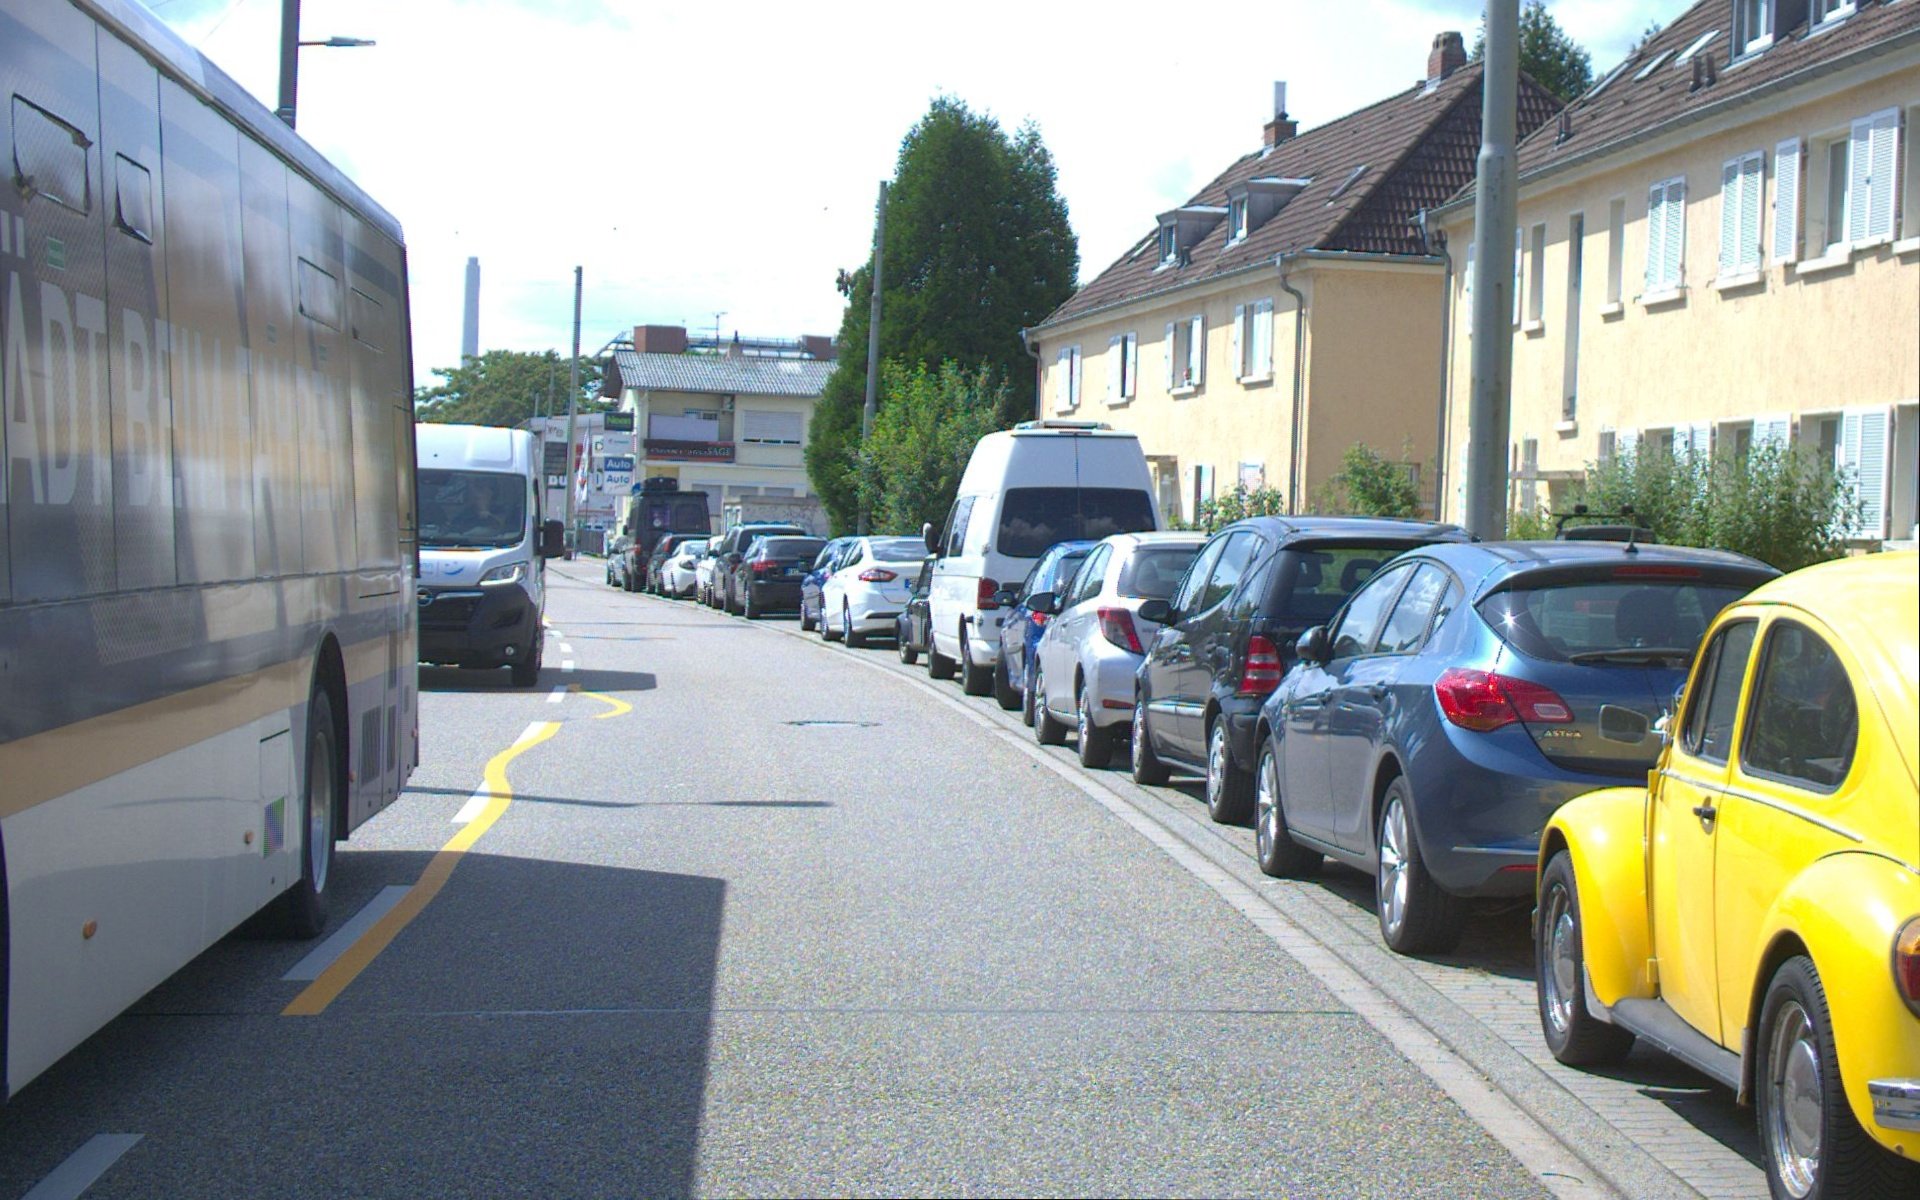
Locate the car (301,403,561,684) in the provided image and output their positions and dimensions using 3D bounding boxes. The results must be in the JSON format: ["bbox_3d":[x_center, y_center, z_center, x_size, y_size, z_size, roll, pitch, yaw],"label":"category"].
[{"bbox_3d":[-5.067,-0.564,33.644,2.102,2.435,5.572,2,1,-5],"label":"car"}]

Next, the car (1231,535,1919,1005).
[{"bbox_3d":[2.221,0.530,13.459,1.636,1.477,4.125,2,1,-4],"label":"car"}]

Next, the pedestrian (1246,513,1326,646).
[{"bbox_3d":[4.139,-0.267,43.680,0.853,1.646,0.637,2,1,-4],"label":"pedestrian"}]

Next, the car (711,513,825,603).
[{"bbox_3d":[-3.674,-0.824,65.174,1.763,1.637,4.001,0,1,-9],"label":"car"}]

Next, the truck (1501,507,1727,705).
[{"bbox_3d":[5.890,0.032,31.158,1.346,1.683,2.441,2,1,-5],"label":"truck"}]

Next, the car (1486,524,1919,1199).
[{"bbox_3d":[2.470,0.582,8.297,1.636,1.477,3.932,-1,2,-2],"label":"car"}]

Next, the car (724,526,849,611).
[{"bbox_3d":[-3.067,-0.575,60.067,1.763,1.412,4.001,0,1,-9],"label":"car"}]

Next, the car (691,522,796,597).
[{"bbox_3d":[-4.440,-0.844,70.032,1.763,1.471,4.001,0,1,-9],"label":"car"}]

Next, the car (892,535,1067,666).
[{"bbox_3d":[0.176,-0.015,38.020,1.341,1.336,3.289,2,0,-10],"label":"car"}]

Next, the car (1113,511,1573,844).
[{"bbox_3d":[1.994,0.339,19.024,1.636,1.597,3.932,2,1,-6],"label":"car"}]

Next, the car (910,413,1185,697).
[{"bbox_3d":[0.733,-0.451,33.149,1.929,2.472,5.519,1,1,-6],"label":"car"}]

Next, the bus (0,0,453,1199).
[{"bbox_3d":[-3.407,-0.464,10.027,2.636,3.401,12.250,1,1,-3],"label":"bus"}]

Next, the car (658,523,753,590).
[{"bbox_3d":[-5.661,-0.980,76.149,1.763,1.435,4.001,0,1,-9],"label":"car"}]

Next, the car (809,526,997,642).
[{"bbox_3d":[-0.821,-0.232,45.780,1.798,1.453,4.767,0,1,-10],"label":"car"}]

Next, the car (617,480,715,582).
[{"bbox_3d":[-7.506,-1.765,87.266,1.959,2.470,6.062,0,1,-10],"label":"car"}]

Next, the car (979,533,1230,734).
[{"bbox_3d":[1.104,0.220,27.807,1.536,1.440,3.738,2,1,-4],"label":"car"}]

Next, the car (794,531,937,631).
[{"bbox_3d":[-1.444,-0.311,51.322,1.620,1.412,4.001,0,1,-9],"label":"car"}]

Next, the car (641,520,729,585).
[{"bbox_3d":[-6.517,-1.138,81.116,1.763,1.497,4.001,0,1,-9],"label":"car"}]

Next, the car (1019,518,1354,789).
[{"bbox_3d":[1.430,0.284,23.162,1.636,1.597,4.030,2,1,-4],"label":"car"}]
